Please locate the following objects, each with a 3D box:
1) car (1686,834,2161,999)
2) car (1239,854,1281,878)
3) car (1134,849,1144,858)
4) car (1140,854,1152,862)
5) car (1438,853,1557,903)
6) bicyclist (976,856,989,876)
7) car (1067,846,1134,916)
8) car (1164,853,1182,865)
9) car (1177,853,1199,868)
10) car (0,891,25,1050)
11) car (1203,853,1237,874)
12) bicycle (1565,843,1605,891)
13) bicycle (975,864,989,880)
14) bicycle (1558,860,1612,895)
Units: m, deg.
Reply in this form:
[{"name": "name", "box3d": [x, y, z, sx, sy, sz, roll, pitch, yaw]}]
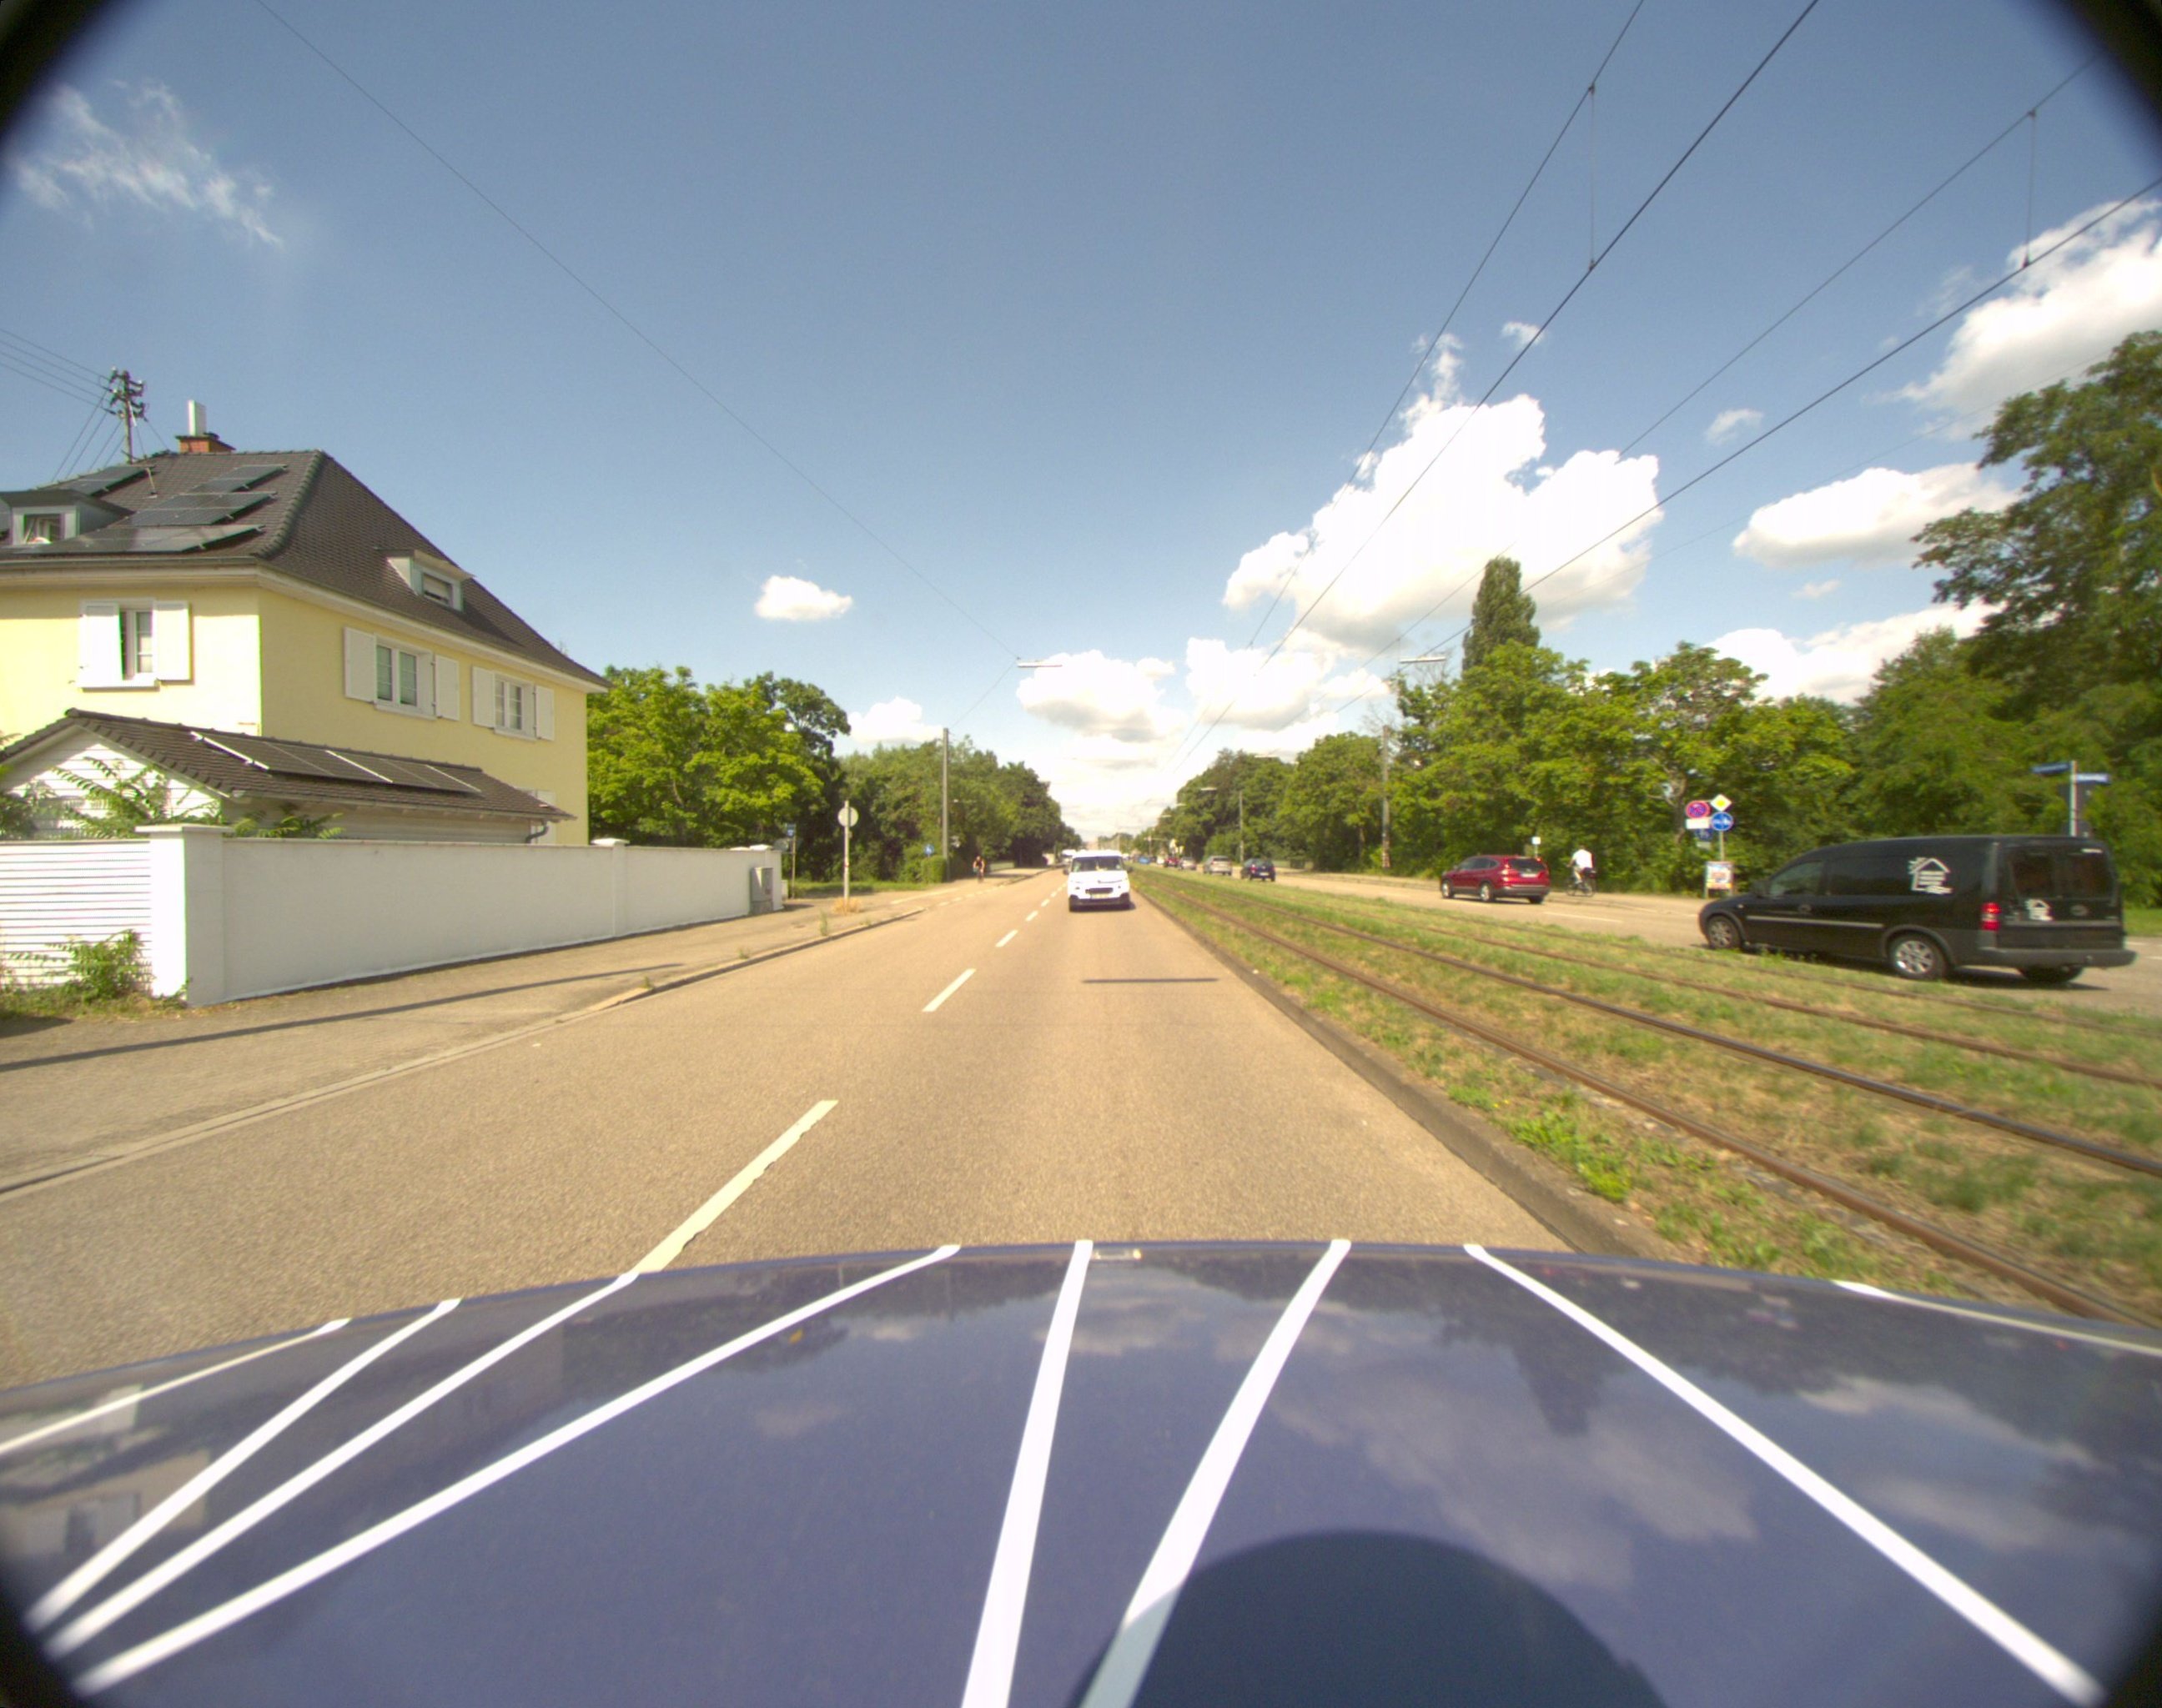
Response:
[{"name": "car", "box3d": [10.605, 0.660, 10.161, 1.690, 1.736, 4.227, -1, 0, 0]}, {"name": "car", "box3d": [11.131, 0.724, 47.618, 1.731, 1.386, 4.277, -1, 0, 2]}, {"name": "car", "box3d": [13.568, -0.231, 178.599, 1.999, 2.002, 3.999, -2, 1, -1]}, {"name": "car", "box3d": [13.119, 0.827, 152.686, 2.121, 1.642, 4.277, -1, 0, 2]}, {"name": "car", "box3d": [14.192, 0.756, 26.210, 1.732, 1.569, 4.276, -1, 0, -1]}, {"name": "bicyclist", "box3d": [-6.491, 0.777, 50.222, 0.690, 1.345, 0.665, -1, 1, 7]}, {"name": "car", "box3d": [0.495, 0.741, 23.083, 1.778, 1.850, 4.374, -2, 0, -1]}, {"name": "car", "box3d": [12.542, 0.649, 103.633, 2.121, 1.642, 4.277, -1, 0, 2]}, {"name": "car", "box3d": [11.847, 0.668, 84.335, 1.921, 1.642, 4.277, -1, 0, 2]}, {"name": "car", "box3d": [-12.177, 1.047, 6.289, 4.460, 1.452, 1.763, 1, 0, 1]}, {"name": "car", "box3d": [11.567, 0.749, 63.591, 2.121, 1.642, 4.277, -1, 0, 2]}, {"name": "bicycle", "box3d": [17.928, 0.443, 27.025, 0.801, 1.675, 0.952, -1, 0, 1]}, {"name": "bicycle", "box3d": [-6.518, 1.189, 50.188, 0.556, 1.059, 1.524, -1, 0, 7]}, {"name": "bicycle", "box3d": [17.939, 0.817, 27.097, 0.643, 1.181, 1.957, -1, 0, 2]}]
